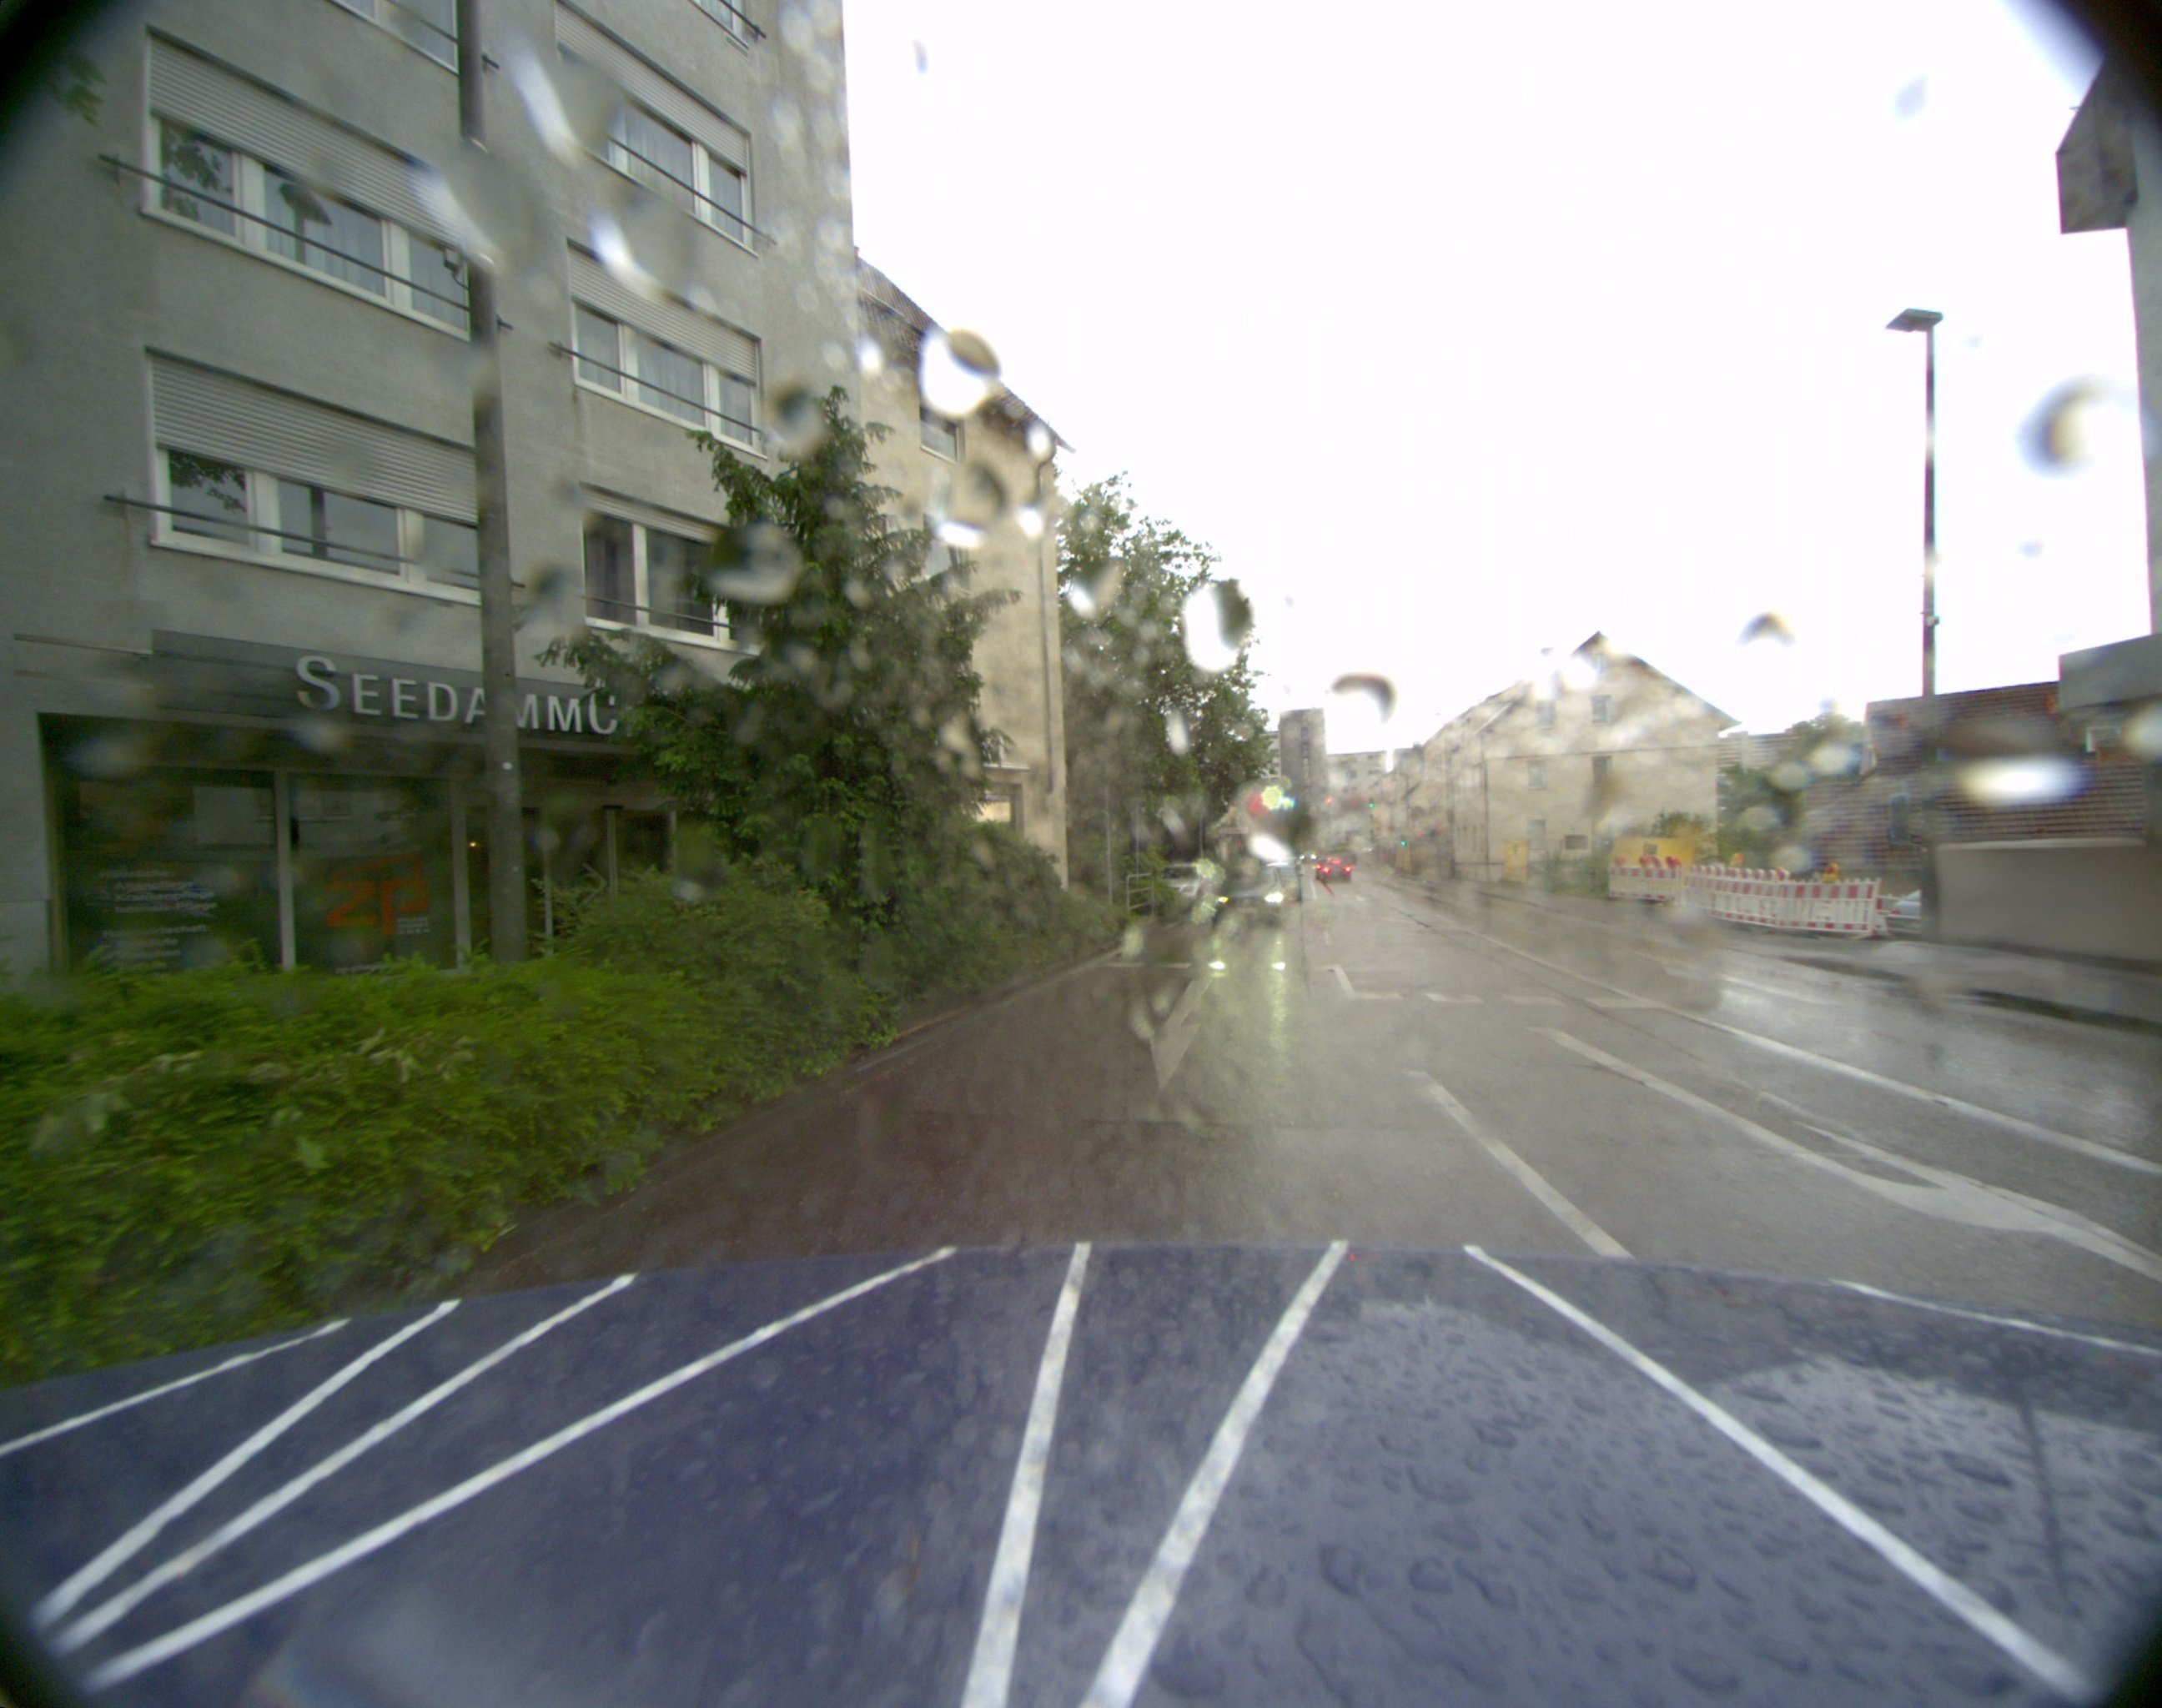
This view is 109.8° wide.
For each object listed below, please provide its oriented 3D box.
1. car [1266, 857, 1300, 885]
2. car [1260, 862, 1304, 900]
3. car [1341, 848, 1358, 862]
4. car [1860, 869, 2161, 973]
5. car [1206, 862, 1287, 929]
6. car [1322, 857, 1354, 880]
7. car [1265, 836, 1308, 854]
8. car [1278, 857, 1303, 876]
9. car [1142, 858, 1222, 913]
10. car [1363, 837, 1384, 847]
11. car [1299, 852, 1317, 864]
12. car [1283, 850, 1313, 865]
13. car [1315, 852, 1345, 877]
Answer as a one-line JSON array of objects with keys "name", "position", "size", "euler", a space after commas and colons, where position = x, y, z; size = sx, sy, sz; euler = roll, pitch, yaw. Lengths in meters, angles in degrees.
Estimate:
[{"name": "car", "position": [11.273, 0.911, 42.587], "size": [1.685, 1.413, 4.004], "euler": [-2, 0, 14]}, {"name": "car", "position": [8.289, 1.048, 31.162], "size": [1.639, 1.424, 3.810], "euler": [-1, 0, 16]}, {"name": "car", "position": [32.993, 0.126, 93.315], "size": [1.818, 1.562, 4.281], "euler": [-1, 0, 18]}, {"name": "car", "position": [16.303, 1.129, 13.221], "size": [3.505, 1.382, 1.653], "euler": [6, -1, 7]}, {"name": "car", "position": [4.640, 1.058, 20.838], "size": [1.818, 1.562, 4.281], "euler": [-3, -1, 16]}, {"name": "car", "position": [16.647, 0.910, 49.389], "size": [1.709, 1.375, 3.674], "euler": [-2, -1, 16]}, {"name": "car", "position": [34.943, -1.544, 129.004], "size": [6.406, 2.505, 2.681], "euler": [-4, -1, 34]}, {"name": "car", "position": [17.434, 0.985, 63.078], "size": [1.684, 1.452, 4.006], "euler": [-2, 0, 19]}, {"name": "car", "position": [3.747, 1.063, 27.459], "size": [1.933, 1.770, 4.740], "euler": [-1, 0, 19]}, {"name": "car", "position": [46.899, -1.918, 121.832], "size": [3.725, 1.495, 1.612], "euler": [-2, -1, -44]}, {"name": "car", "position": [29.939, 0.489, 100.068], "size": [1.547, 1.525, 3.695], "euler": [-3, 0, 27]}, {"name": "car", "position": [23.758, 0.367, 83.128], "size": [1.683, 1.452, 4.008], "euler": [-2, 0, 38]}, {"name": "car", "position": [18.246, 0.768, 55.739], "size": [1.818, 1.635, 4.281], "euler": [-3, -1, 15]}]
